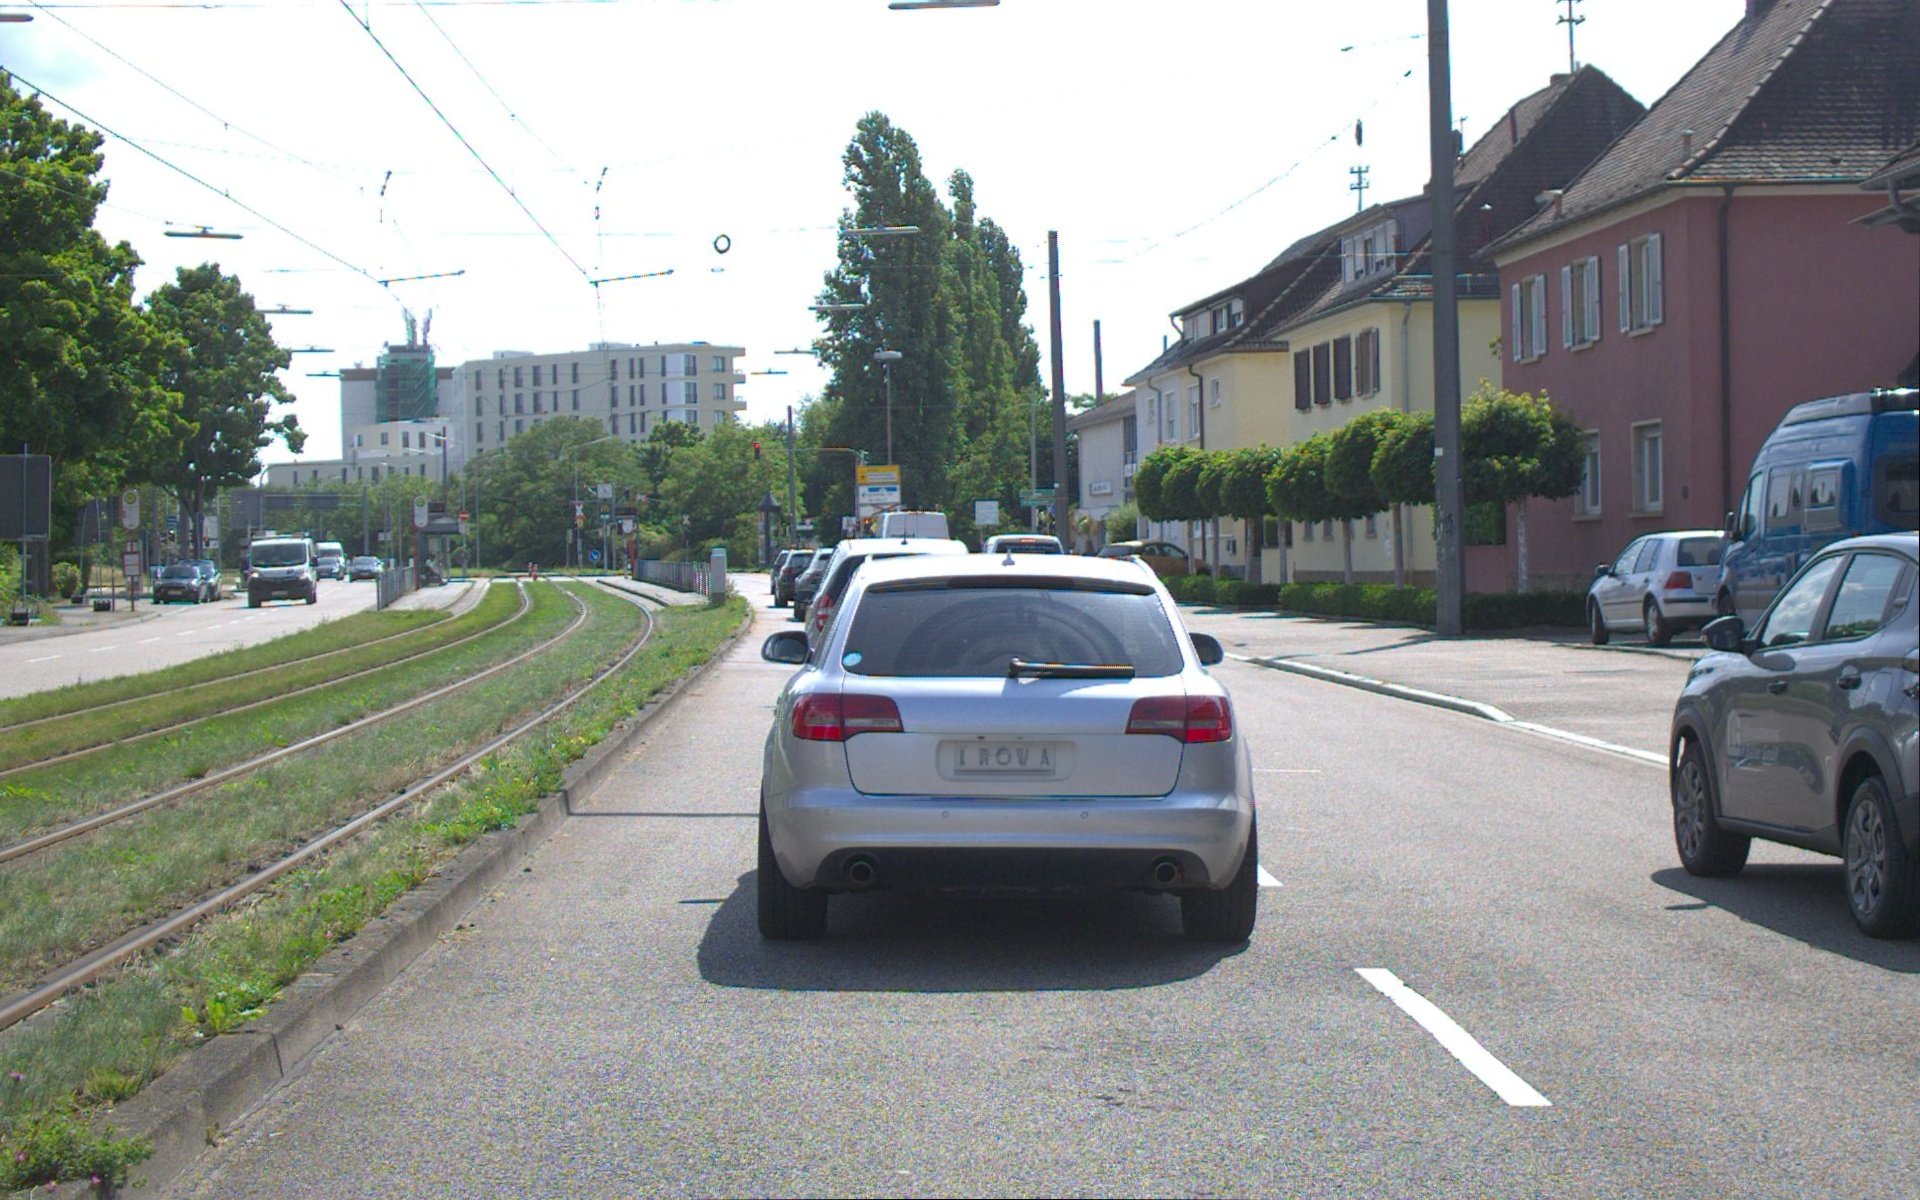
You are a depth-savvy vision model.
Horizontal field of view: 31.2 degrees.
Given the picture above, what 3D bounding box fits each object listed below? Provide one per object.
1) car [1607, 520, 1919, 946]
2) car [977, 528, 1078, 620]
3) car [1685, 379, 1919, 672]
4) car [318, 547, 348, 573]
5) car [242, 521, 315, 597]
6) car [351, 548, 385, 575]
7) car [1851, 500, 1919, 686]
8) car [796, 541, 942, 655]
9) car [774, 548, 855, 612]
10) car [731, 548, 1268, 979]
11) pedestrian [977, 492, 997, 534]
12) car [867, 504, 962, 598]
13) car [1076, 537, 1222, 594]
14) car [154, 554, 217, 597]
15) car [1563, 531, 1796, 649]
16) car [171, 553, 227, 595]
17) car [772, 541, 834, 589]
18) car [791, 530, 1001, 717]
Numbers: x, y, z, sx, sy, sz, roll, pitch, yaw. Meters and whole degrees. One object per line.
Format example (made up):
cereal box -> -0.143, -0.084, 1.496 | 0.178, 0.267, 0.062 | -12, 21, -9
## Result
car -> 4.191, 0.480, 14.694 | 1.807, 1.554, 4.254 | 1, 0, -3
car -> 1.354, -0.522, 67.495 | 1.885, 1.725, 4.094 | -1, 1, 2
car -> 9.737, -0.755, 37.452 | 2.151, 2.920, 6.245 | 1, 0, -2
car -> -40.498, -2.589, 222.077 | 1.862, 1.645, 4.001 | 1, 0, -11
car -> -22.221, -1.322, 112.308 | 2.196, 2.364, 5.334 | -2, 1, -11
car -> -35.485, -2.296, 205.936 | 1.896, 1.536, 3.730 | 1, 0, -11
car -> 9.767, -0.089, 31.208 | 1.836, 1.705, 4.865 | -2, 1, -3
car -> -1.207, -0.057, 47.107 | 1.885, 1.461, 4.094 | -1, 1, 0
car -> -3.626, -0.503, 86.209 | 1.885, 1.525, 4.094 | 1, 0, -1
car -> 0.144, 0.534, 14.170 | 1.854, 1.487, 4.536 | 0, 1, 0
pedestrian -> 1.196, -3.788, 149.981 | 0.721, 1.776, 0.703 | -3, 1, -5
car -> -1.308, -1.364, 96.018 | 2.040, 2.549, 5.232 | -1, 1, -8
car -> 5.349, -0.996, 96.935 | 1.914, 1.453, 4.083 | 1, 3, 43
car -> -28.902, -0.931, 128.313 | 1.786, 1.578, 3.931 | -1, 1, -5
car -> 9.207, -0.139, 44.345 | 1.648, 1.404, 4.351 | -1, 0, -6
car -> -29.783, -1.030, 134.487 | 2.059, 1.608, 4.755 | -1, 1, -13
car -> -5.210, -1.159, 114.362 | 1.885, 1.525, 4.094 | 1, 0, 0
car -> -0.608, 0.174, 31.911 | 1.787, 1.571, 4.095 | 2, 1, -2
